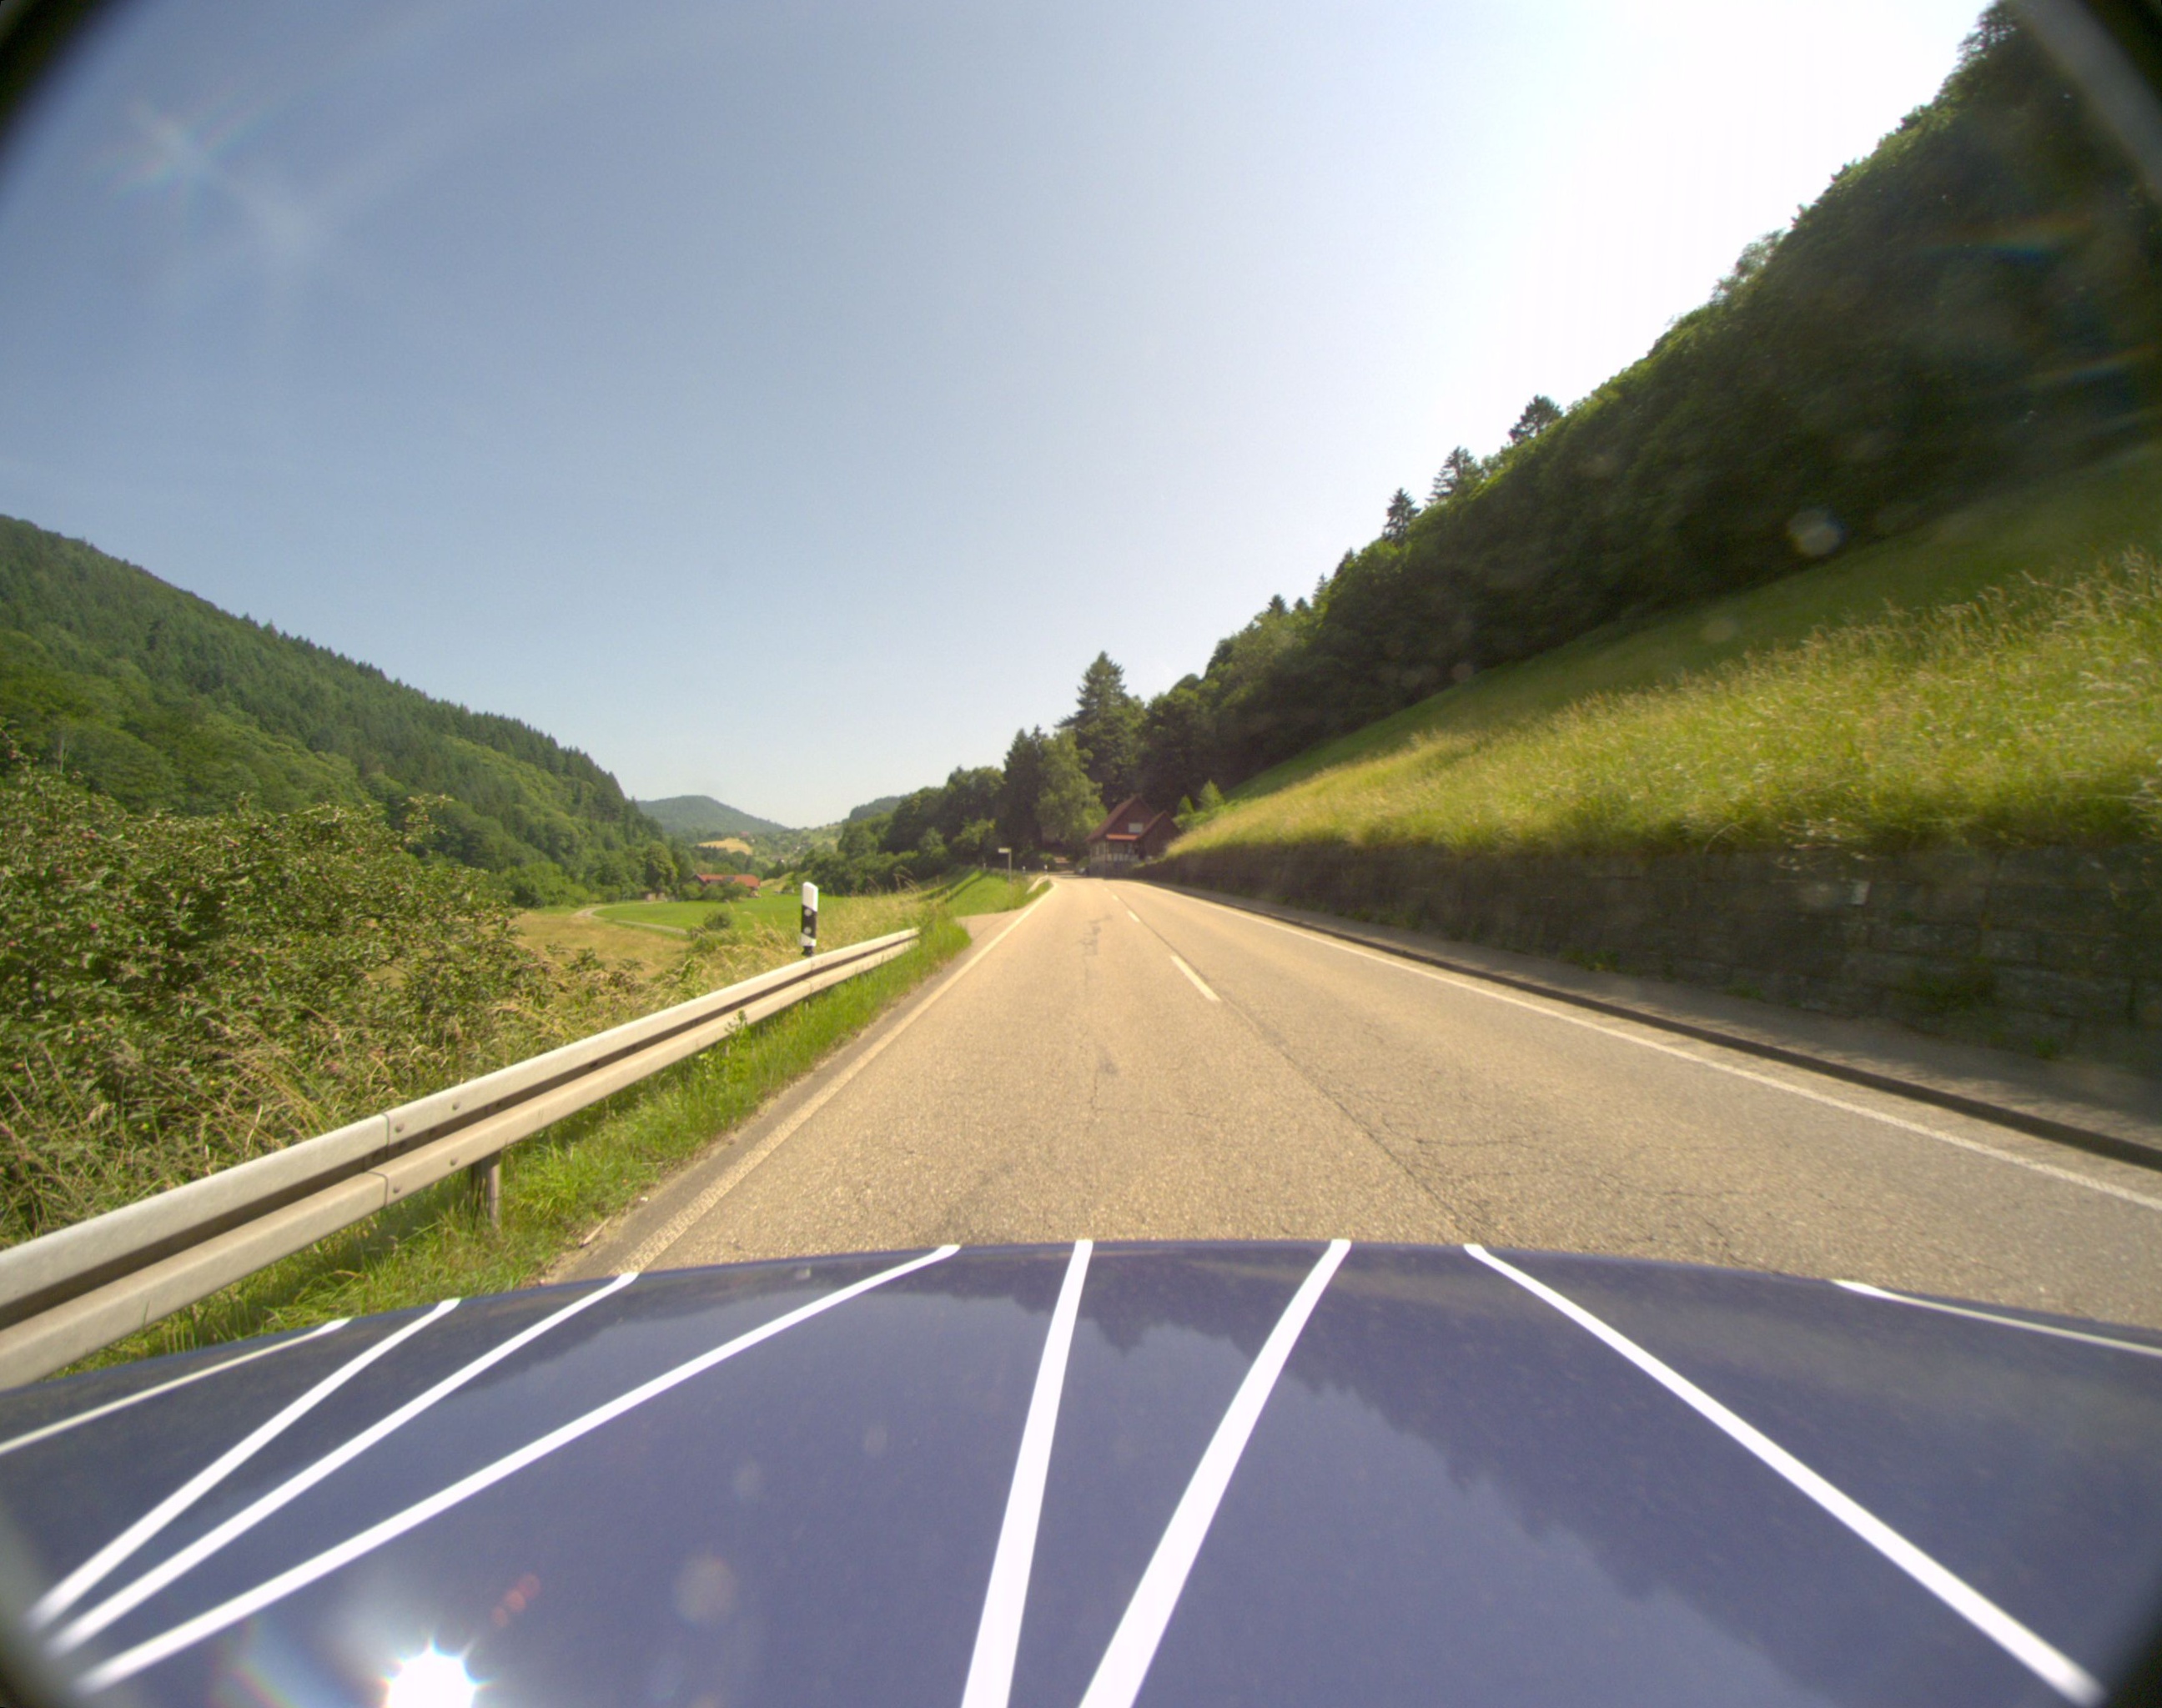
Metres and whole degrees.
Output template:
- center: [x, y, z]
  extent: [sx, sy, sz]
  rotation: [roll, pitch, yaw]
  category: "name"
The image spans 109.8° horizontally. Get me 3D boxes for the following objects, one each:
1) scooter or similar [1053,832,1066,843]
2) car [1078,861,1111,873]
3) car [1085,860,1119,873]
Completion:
- center: [-4.263, -3.211, 150.793]
  extent: [1.984, 2.015, 4.402]
  rotation: [-4, 1, -7]
  category: "scooter or similar"
- center: [1.727, 1.620, 96.068]
  extent: [3.830, 1.408, 1.855]
  rotation: [0, -1, -14]
  category: "car"
- center: [2.544, 1.534, 93.987]
  extent: [3.831, 1.424, 1.861]
  rotation: [1, 1, -14]
  category: "car"
